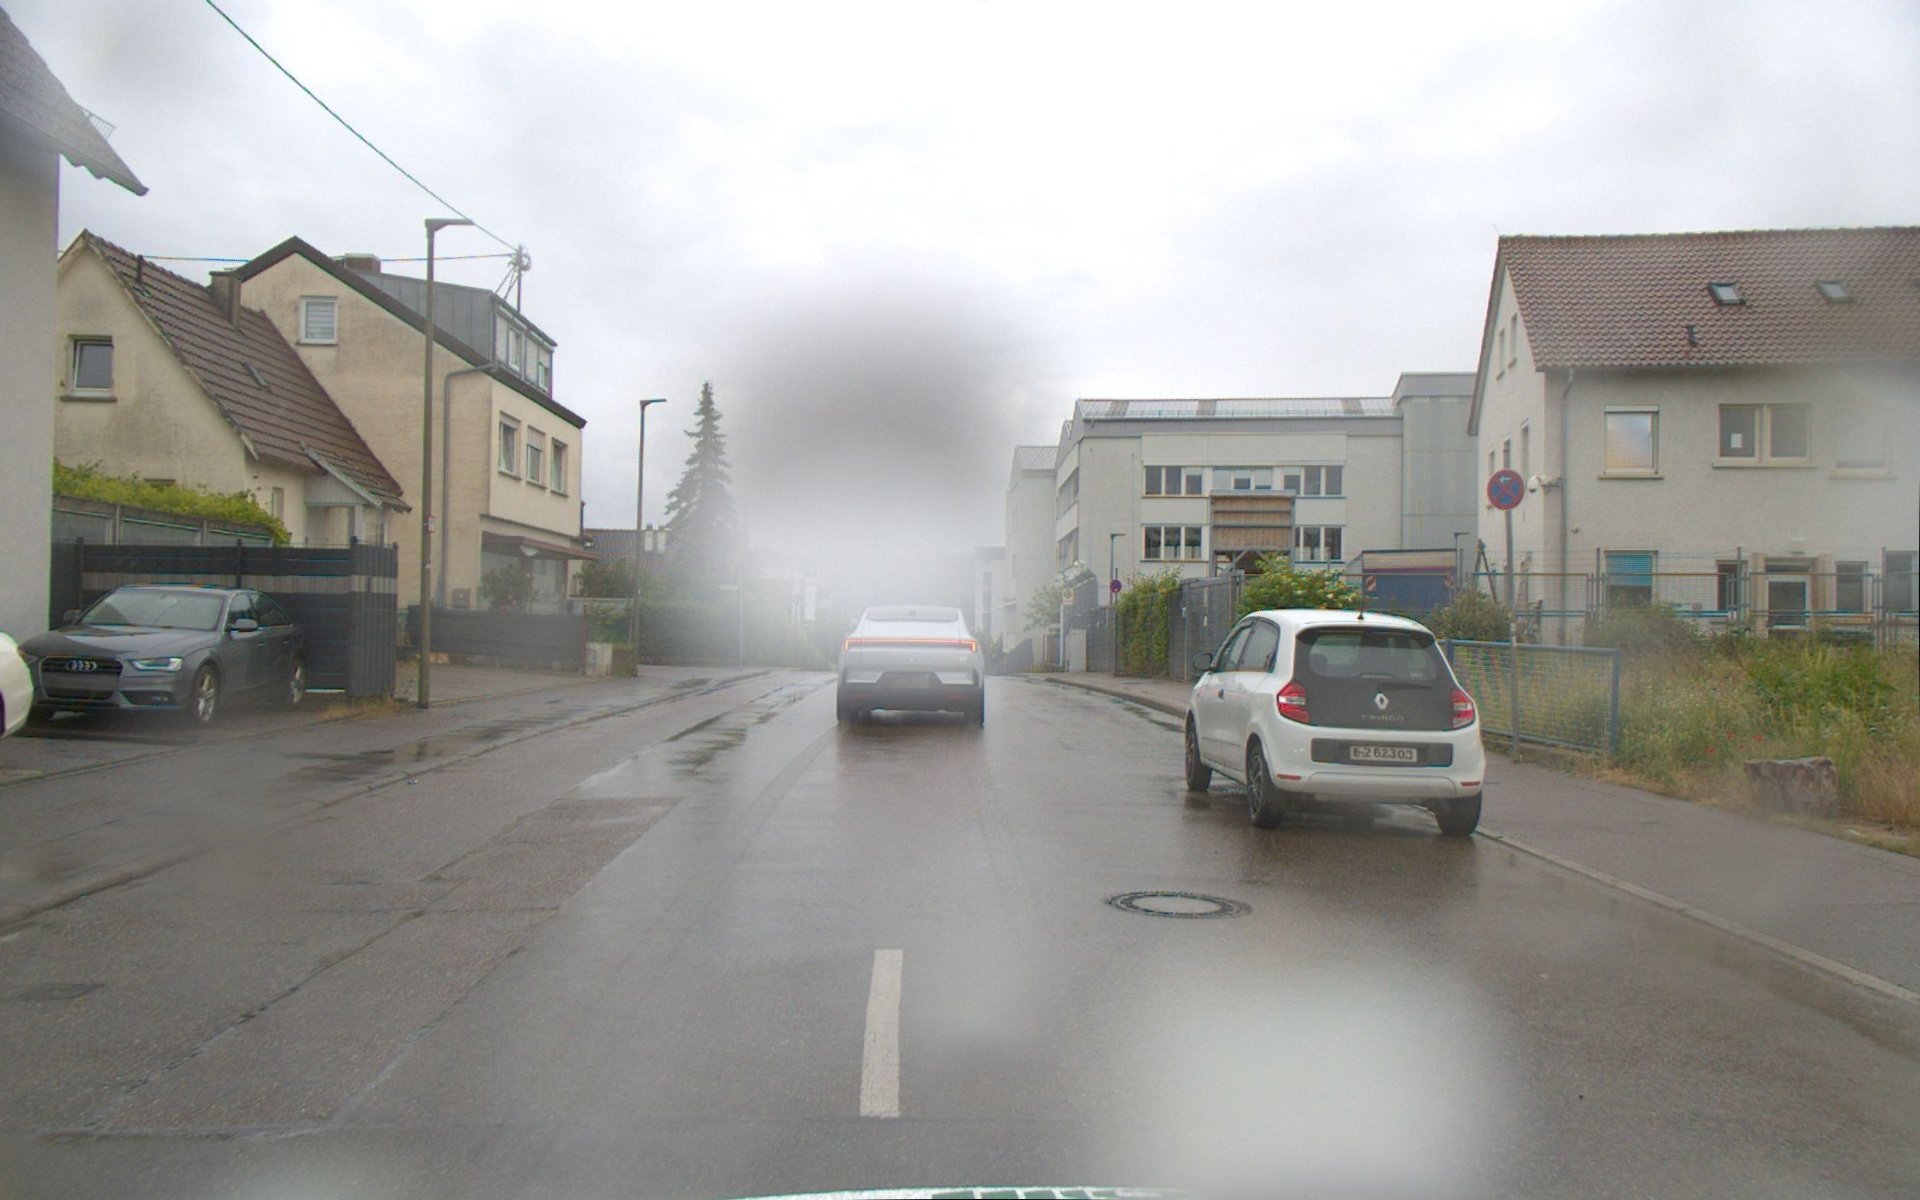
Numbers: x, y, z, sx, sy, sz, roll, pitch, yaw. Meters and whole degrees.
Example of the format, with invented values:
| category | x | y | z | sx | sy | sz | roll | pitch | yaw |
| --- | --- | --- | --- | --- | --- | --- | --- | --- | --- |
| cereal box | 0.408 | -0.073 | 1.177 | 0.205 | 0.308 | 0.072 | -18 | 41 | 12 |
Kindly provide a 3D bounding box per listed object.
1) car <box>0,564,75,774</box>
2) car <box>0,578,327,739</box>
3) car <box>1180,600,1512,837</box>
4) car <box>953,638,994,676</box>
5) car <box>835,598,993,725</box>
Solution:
| category | x | y | z | sx | sy | sz | roll | pitch | yaw |
| --- | --- | --- | --- | --- | --- | --- | --- | --- | --- |
| car | -7.992 | 0.456 | 10.672 | 1.954 | 1.536 | 4.894 | 4 | 0 | -2 |
| car | -8.424 | 0.543 | 17.831 | 1.792 | 1.392 | 4.564 | 4 | 0 | -6 |
| car | 2.911 | 0.819 | 13.232 | 1.647 | 1.584 | 3.673 | 2 | 0 | -2 |
| car | 0.766 | 3.249 | 94.350 | 1.955 | 2.049 | 3.995 | 0 | -4 | -5 |
| car | -0.660 | 0.771 | 22.976 | 1.953 | 1.528 | 4.668 | 1 | 0 | -2 |
